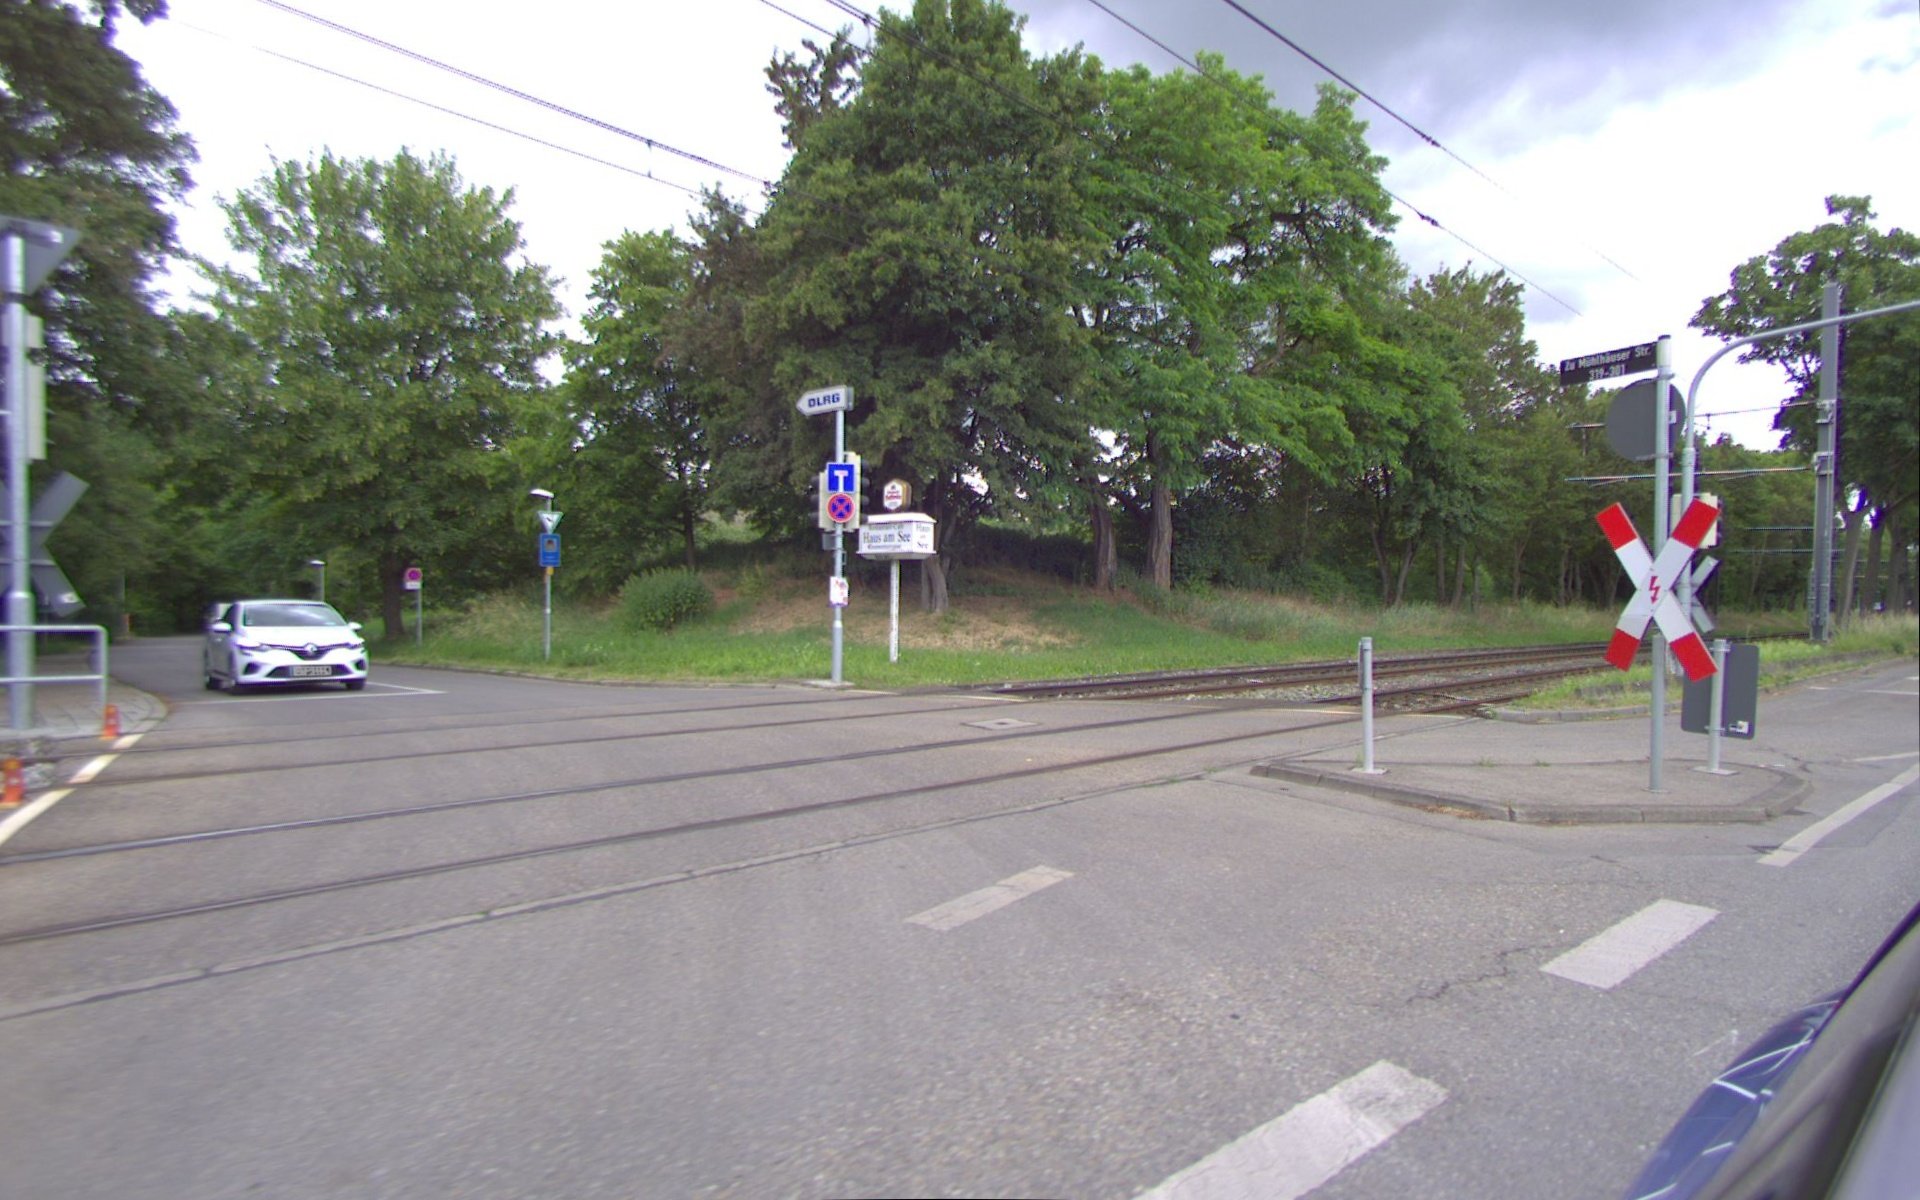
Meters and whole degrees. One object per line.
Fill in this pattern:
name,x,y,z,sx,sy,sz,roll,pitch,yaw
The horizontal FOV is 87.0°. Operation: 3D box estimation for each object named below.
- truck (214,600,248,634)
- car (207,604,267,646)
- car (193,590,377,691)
truck,-66.766,1.591,92.816,2.371,2.977,7.263,0,-1,-34
car,-33.458,1.127,46.773,1.774,1.851,3.991,0,-1,-43
car,-10.780,0.612,16.056,1.756,1.402,3.989,0,-2,-44
